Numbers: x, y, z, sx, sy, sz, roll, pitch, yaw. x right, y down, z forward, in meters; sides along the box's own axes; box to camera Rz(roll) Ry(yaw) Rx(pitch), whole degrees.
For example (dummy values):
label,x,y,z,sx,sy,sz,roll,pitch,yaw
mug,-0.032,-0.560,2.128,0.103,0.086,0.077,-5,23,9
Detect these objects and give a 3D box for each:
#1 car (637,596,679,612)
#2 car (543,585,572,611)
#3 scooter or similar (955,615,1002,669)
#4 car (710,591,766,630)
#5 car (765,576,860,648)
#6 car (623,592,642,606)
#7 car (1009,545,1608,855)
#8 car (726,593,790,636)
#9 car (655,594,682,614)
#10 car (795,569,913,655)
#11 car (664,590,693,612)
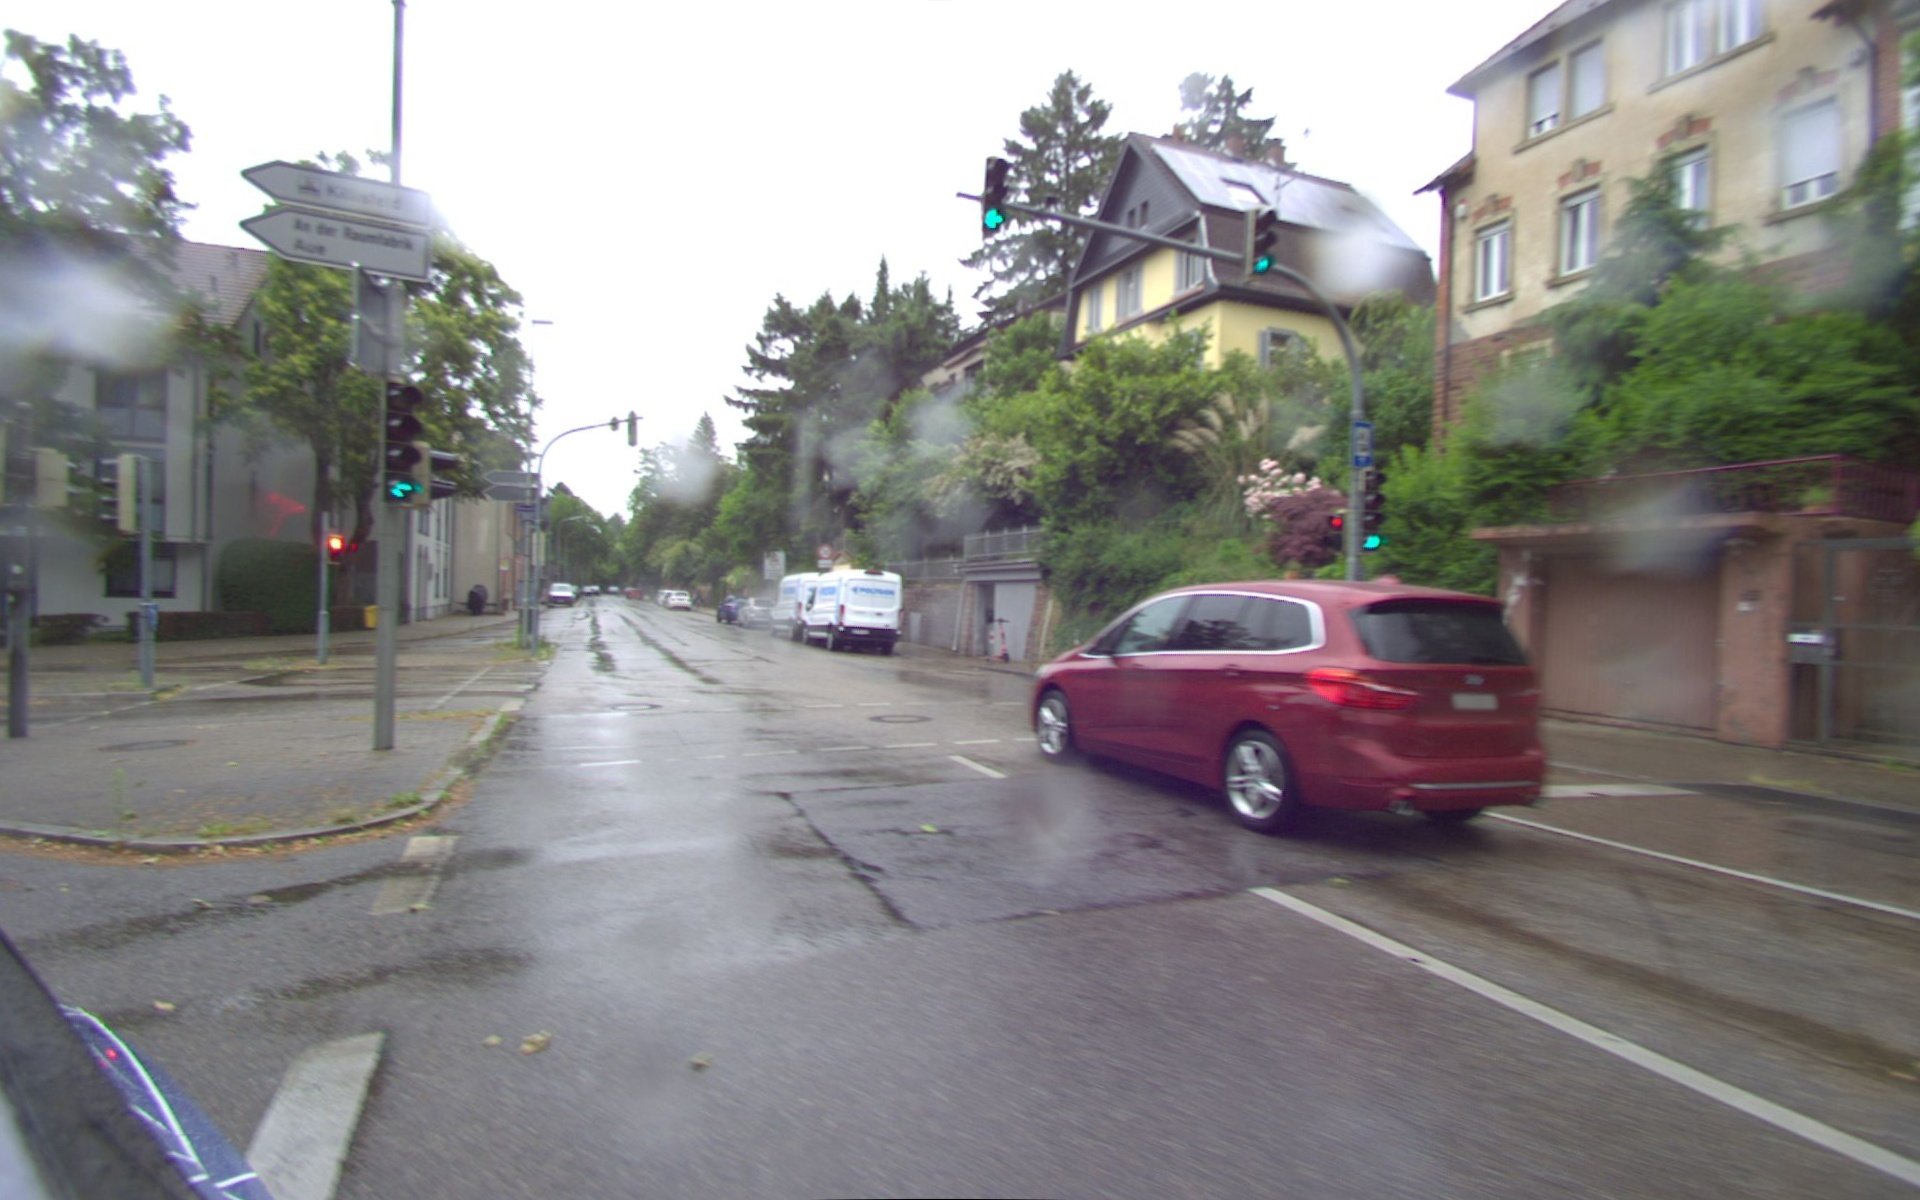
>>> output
label,x,y,z,sx,sy,sz,roll,pitch,yaw
car,-29.721,0.378,99.740,3.817,1.453,1.822,2,-2,-13
car,-33.004,-0.139,82.868,2.047,1.973,4.463,2,-2,-23
scooter or similar,0.478,1.063,25.774,1.087,1.345,0.458,0,-2,26
car,-12.206,0.532,55.300,2.074,1.867,5.600,2,0,-21
car,-5.737,0.389,38.614,2.275,2.513,5.600,2,0,-21
car,-43.209,-0.109,133.651,1.894,1.664,3.993,2,-2,-25
car,2.131,0.581,7.738,1.744,1.613,4.598,2,-2,-22
car,-9.872,0.657,49.101,2.074,1.867,5.600,2,0,-21
car,-25.999,0.371,90.147,1.894,1.667,4.013,2,-2,-21
car,-3.550,0.327,32.736,2.275,2.513,5.698,2,0,-21
car,-22.217,0.115,79.899,1.787,1.658,4.013,2,-2,-21
